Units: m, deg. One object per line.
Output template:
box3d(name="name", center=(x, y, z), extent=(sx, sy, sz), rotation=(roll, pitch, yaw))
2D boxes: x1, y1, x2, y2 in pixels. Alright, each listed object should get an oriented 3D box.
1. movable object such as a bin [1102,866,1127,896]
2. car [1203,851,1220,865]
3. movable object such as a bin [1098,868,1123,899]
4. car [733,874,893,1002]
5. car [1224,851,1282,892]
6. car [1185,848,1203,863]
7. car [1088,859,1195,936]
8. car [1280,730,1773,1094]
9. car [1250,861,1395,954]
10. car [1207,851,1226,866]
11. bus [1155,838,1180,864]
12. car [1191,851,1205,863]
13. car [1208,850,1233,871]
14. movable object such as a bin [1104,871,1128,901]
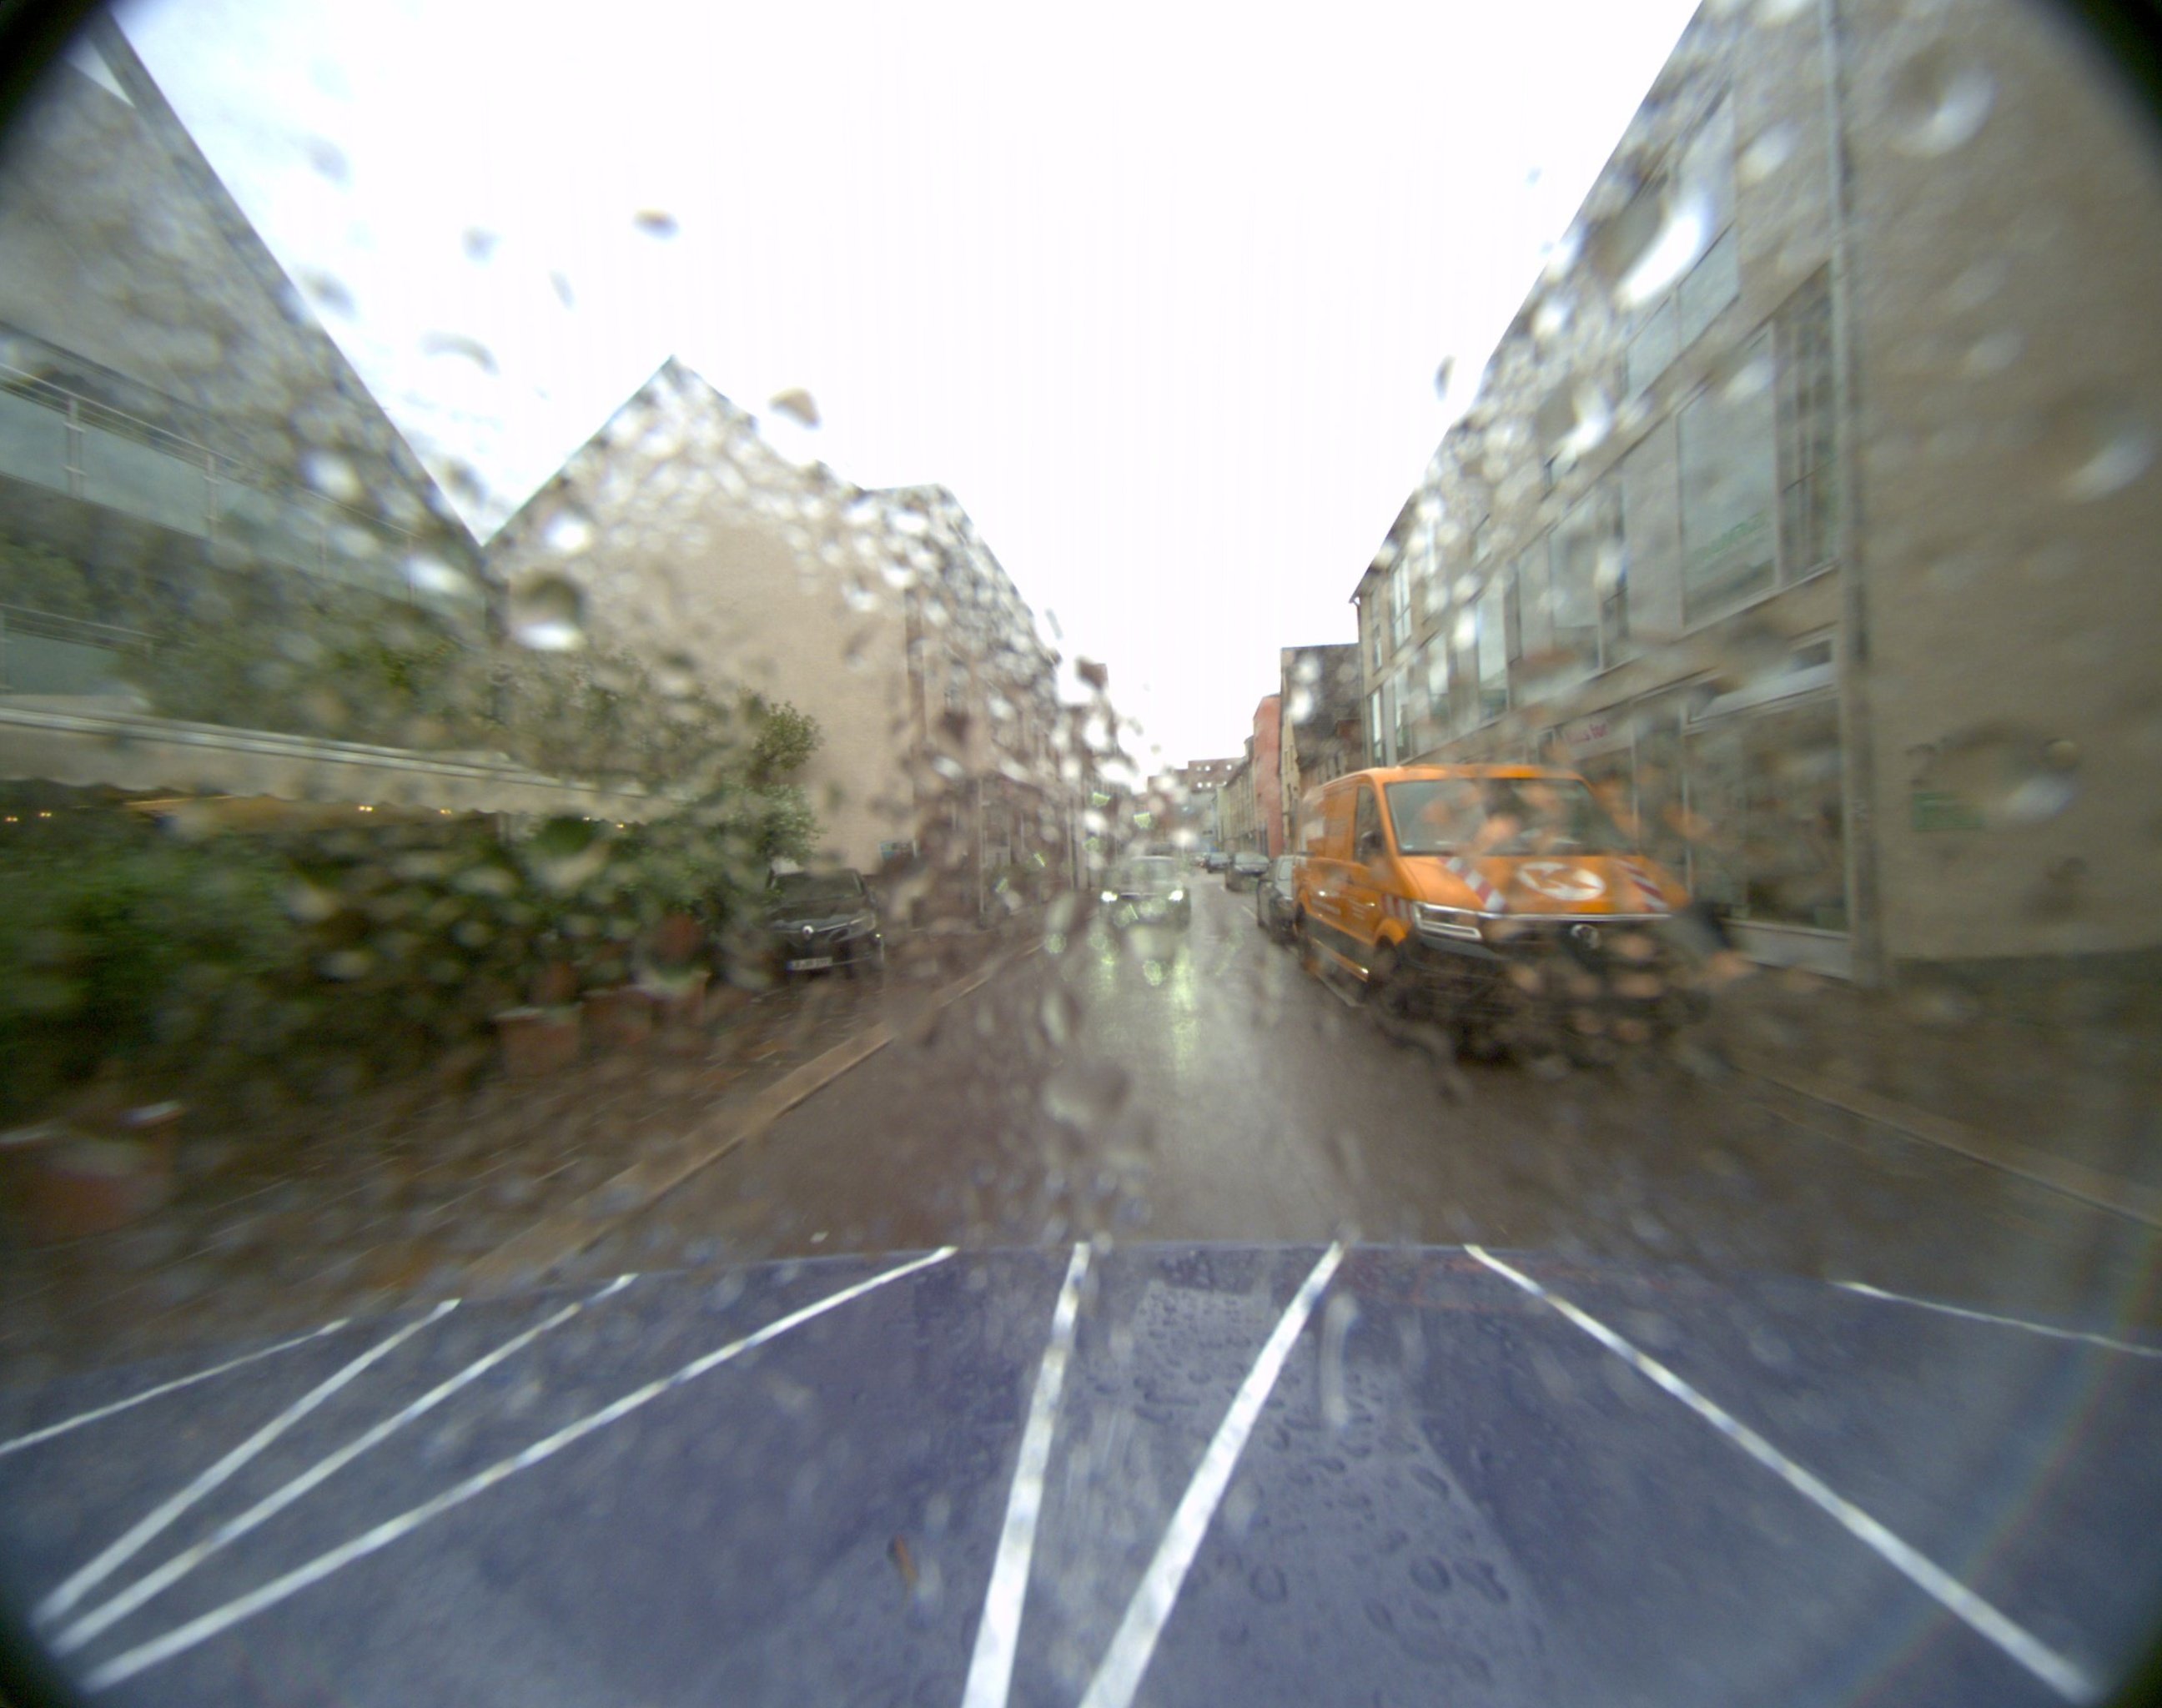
box3d(name="movable object such as a bin", center=(1.187, 0.955, 26.709), extent=(0.733, 1.016, 0.639), rotation=(-3, 0, 10))
box3d(name="car", center=(13.257, 0.405, 77.320), extent=(1.631, 1.359, 3.491), rotation=(-3, 0, 8))
box3d(name="movable object such as a bin", center=(1.002, 0.995, 25.988), extent=(0.733, 1.016, 0.639), rotation=(-3, 0, 10))
box3d(name="car", center=(-3.674, 1.029, 10.908), extent=(1.740, 1.349, 3.931), rotation=(-2, 0, -15))
box3d(name="car", center=(6.855, 0.651, 30.607), extent=(1.738, 1.516, 3.932), rotation=(-2, 0, 6))
box3d(name="car", center=(13.155, 0.153, 88.558), extent=(1.997, 1.586, 4.002), rotation=(-2, 0, 8))
box3d(name="car", center=(1.505, 0.878, 17.123), extent=(1.945, 1.394, 4.423), rotation=(-2, 0, 10))
box3d(name="car", center=(3.517, 0.377, 7.660), extent=(1.998, 2.226, 5.863), rotation=(-2, 0, 6))
box3d(name="car", center=(4.138, 0.839, 13.716), extent=(1.759, 1.348, 4.484), rotation=(-1, 0, 8))
box3d(name="car", center=(13.002, 0.460, 73.119), extent=(1.631, 1.359, 3.491), rotation=(-3, 0, 8))
box3d(name="bus", center=(11.386, -0.381, 100.128), extent=(2.610, 3.175, 7.377), rotation=(-2, 0, 2))
box3d(name="car", center=(14.447, 0.396, 93.731), extent=(1.631, 1.359, 3.491), rotation=(-3, 0, 8))
box3d(name="car", center=(10.222, 0.473, 55.742), extent=(1.631, 1.359, 3.491), rotation=(-3, 0, 8))
box3d(name="movable object such as a bin", center=(1.280, 1.164, 27.539), extent=(0.733, 1.016, 0.639), rotation=(-3, 0, 10))
